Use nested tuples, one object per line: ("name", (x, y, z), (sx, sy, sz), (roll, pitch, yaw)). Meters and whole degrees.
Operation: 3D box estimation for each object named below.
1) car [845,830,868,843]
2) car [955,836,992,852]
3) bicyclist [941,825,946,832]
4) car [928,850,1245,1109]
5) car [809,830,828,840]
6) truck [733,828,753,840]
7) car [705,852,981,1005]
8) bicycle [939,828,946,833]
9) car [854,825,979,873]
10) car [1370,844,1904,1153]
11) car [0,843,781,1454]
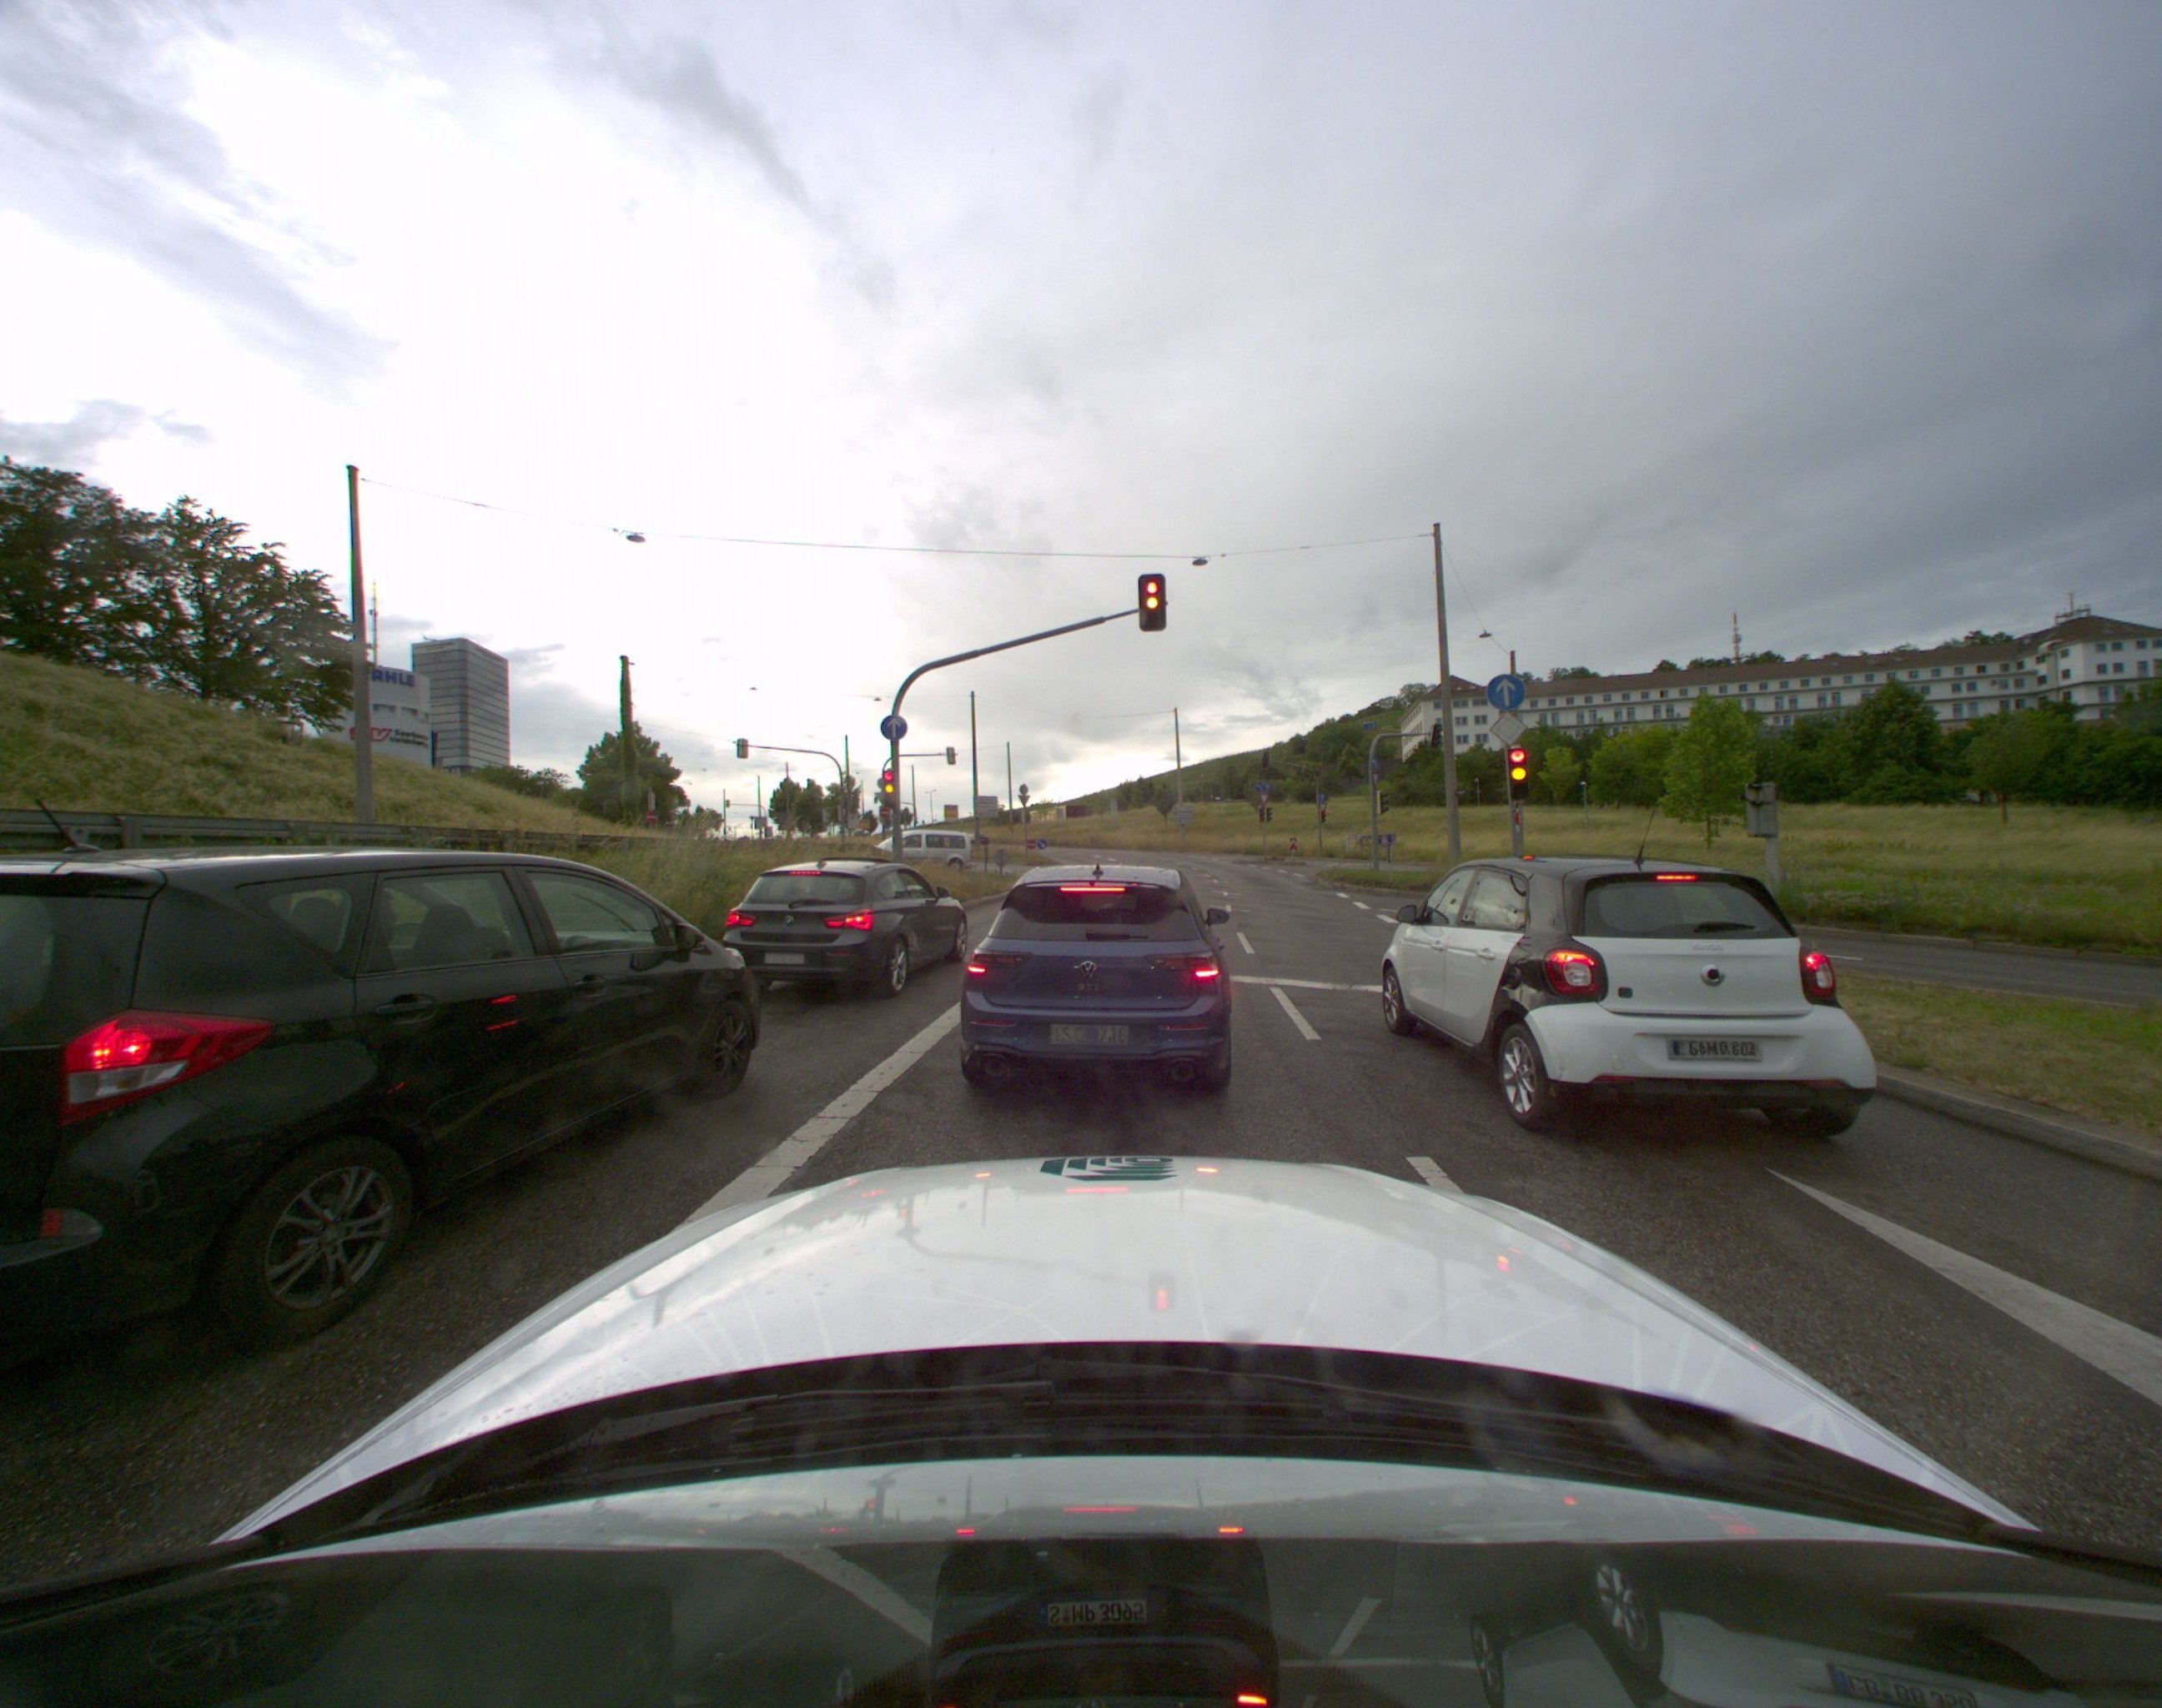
("car", (-32.717, -2.555, 118.599), (2.008, 1.637, 4.373), (0, -1, -35))
("car", (-10.905, -1.024, 82.364), (2.006, 1.618, 4.804), (0, 1, -31))
("bicyclist", (-20.753, -3.889, 122.900), (0.526, 1.046, 0.575), (2, 0, -31))
("car", (0.251, 0.720, 6.583), (1.815, 1.460, 3.816), (-1, 0, 7))
("car", (-45.357, -3.303, 140.751), (2.008, 1.477, 4.455), (0, -1, -33))
("truck", (-86.927, -5.125, 209.220), (3.282, 3.074, 6.109), (2, 0, -36))
("car", (-2.590, 0.729, 10.008), (1.693, 1.459, 4.123), (-1, 0, 7))
("bicycle", (-20.900, -3.514, 123.090), (0.521, 0.775, 1.605), (0, 0, -31))
("car", (-6.701, -0.162, 33.451), (4.715, 1.850, 1.803), (0, -1, -33))
("car", (3.338, 0.734, 5.756), (1.649, 1.503, 3.456), (-1, -1, 6))
("car", (-3.093, 0.710, 3.946), (1.634, 1.504, 3.783), (0, 0, 4))
